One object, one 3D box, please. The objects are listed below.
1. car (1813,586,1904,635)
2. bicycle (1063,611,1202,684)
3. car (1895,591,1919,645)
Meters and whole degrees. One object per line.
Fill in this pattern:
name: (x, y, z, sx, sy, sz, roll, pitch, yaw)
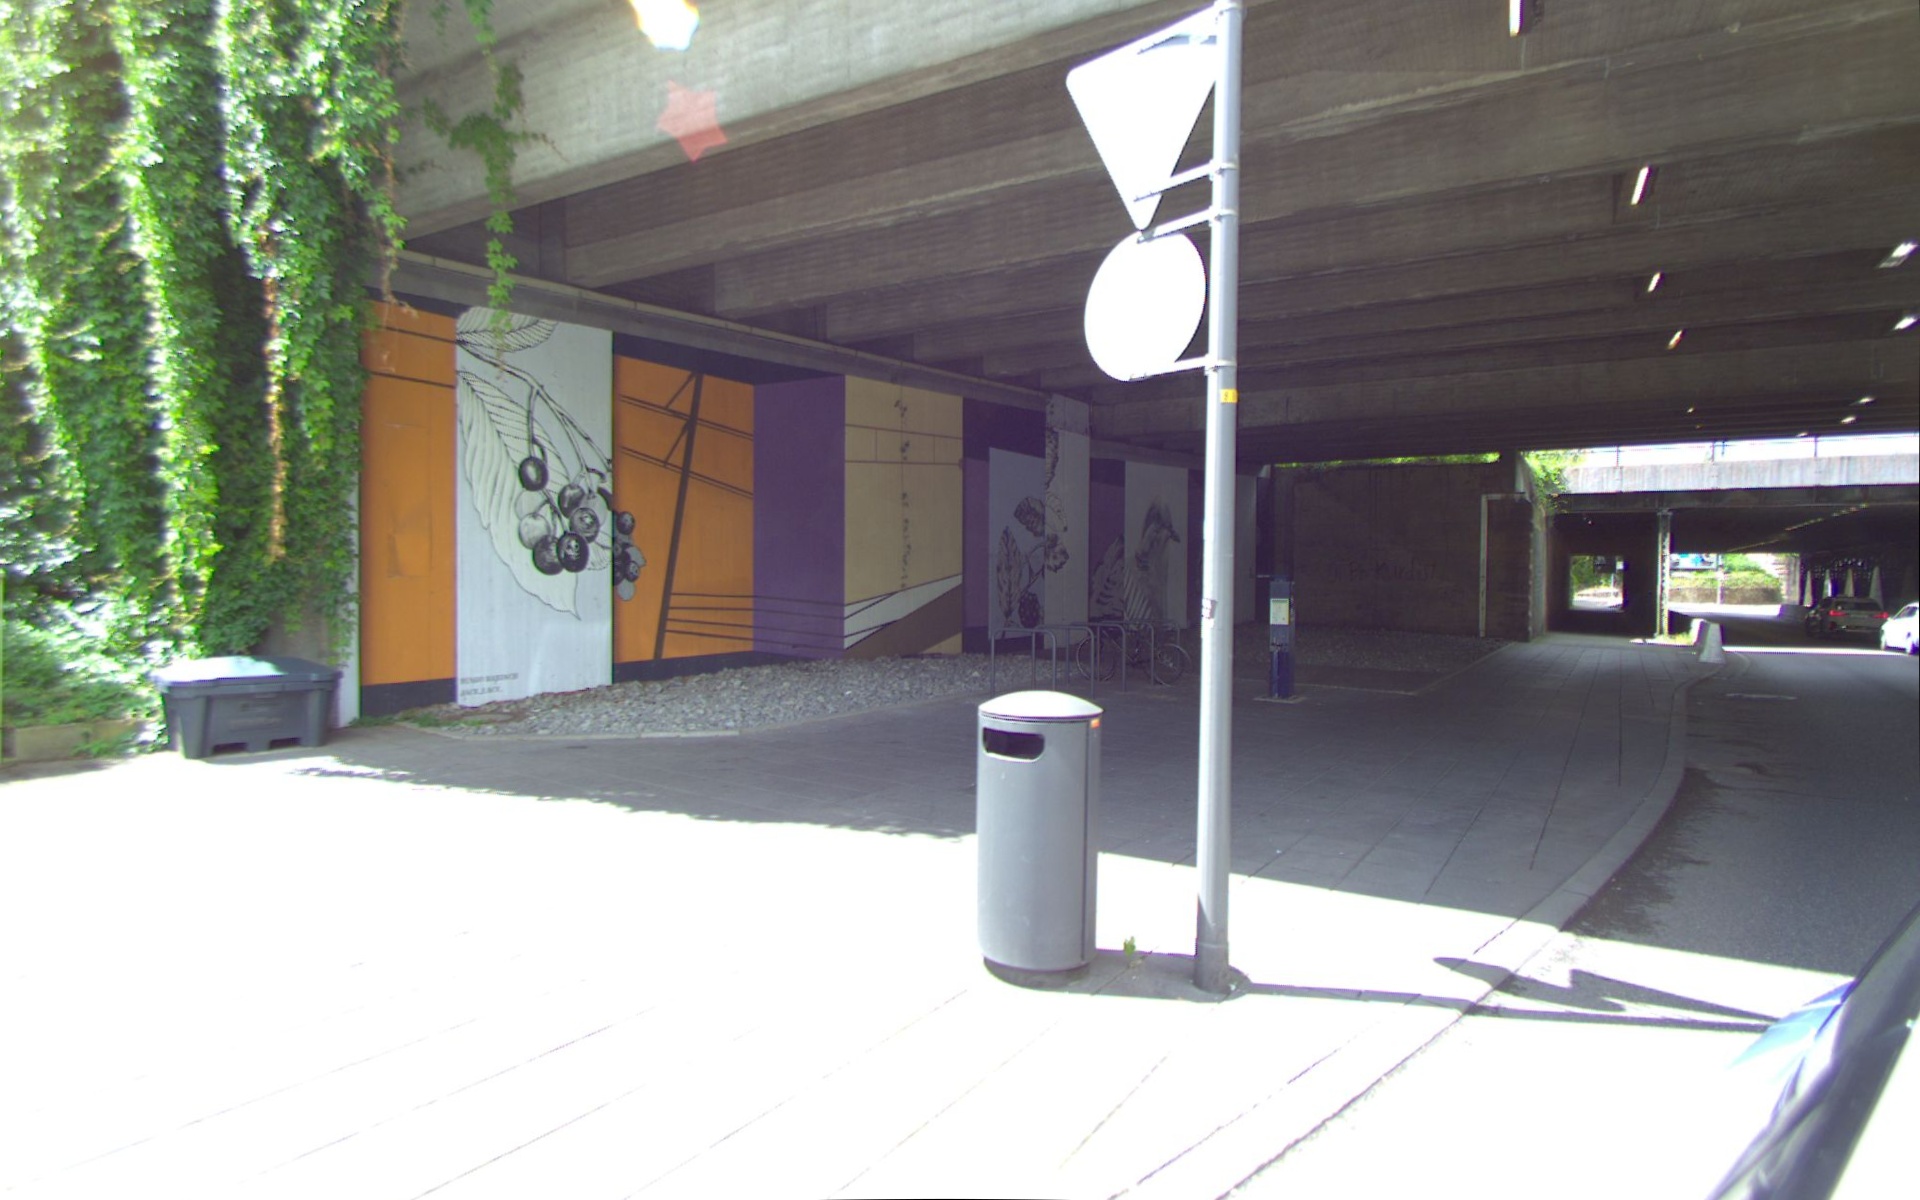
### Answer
car: (33.337, 0.336, 37.663, 1.818, 1.674, 4.165, 2, 2, 32)
bicycle: (2.464, 0.663, 14.602, 1.937, 0.915, 0.501, 2, 2, 33)
car: (27.661, 0.518, 28.283, 1.666, 1.465, 3.805, 2, 2, 34)
